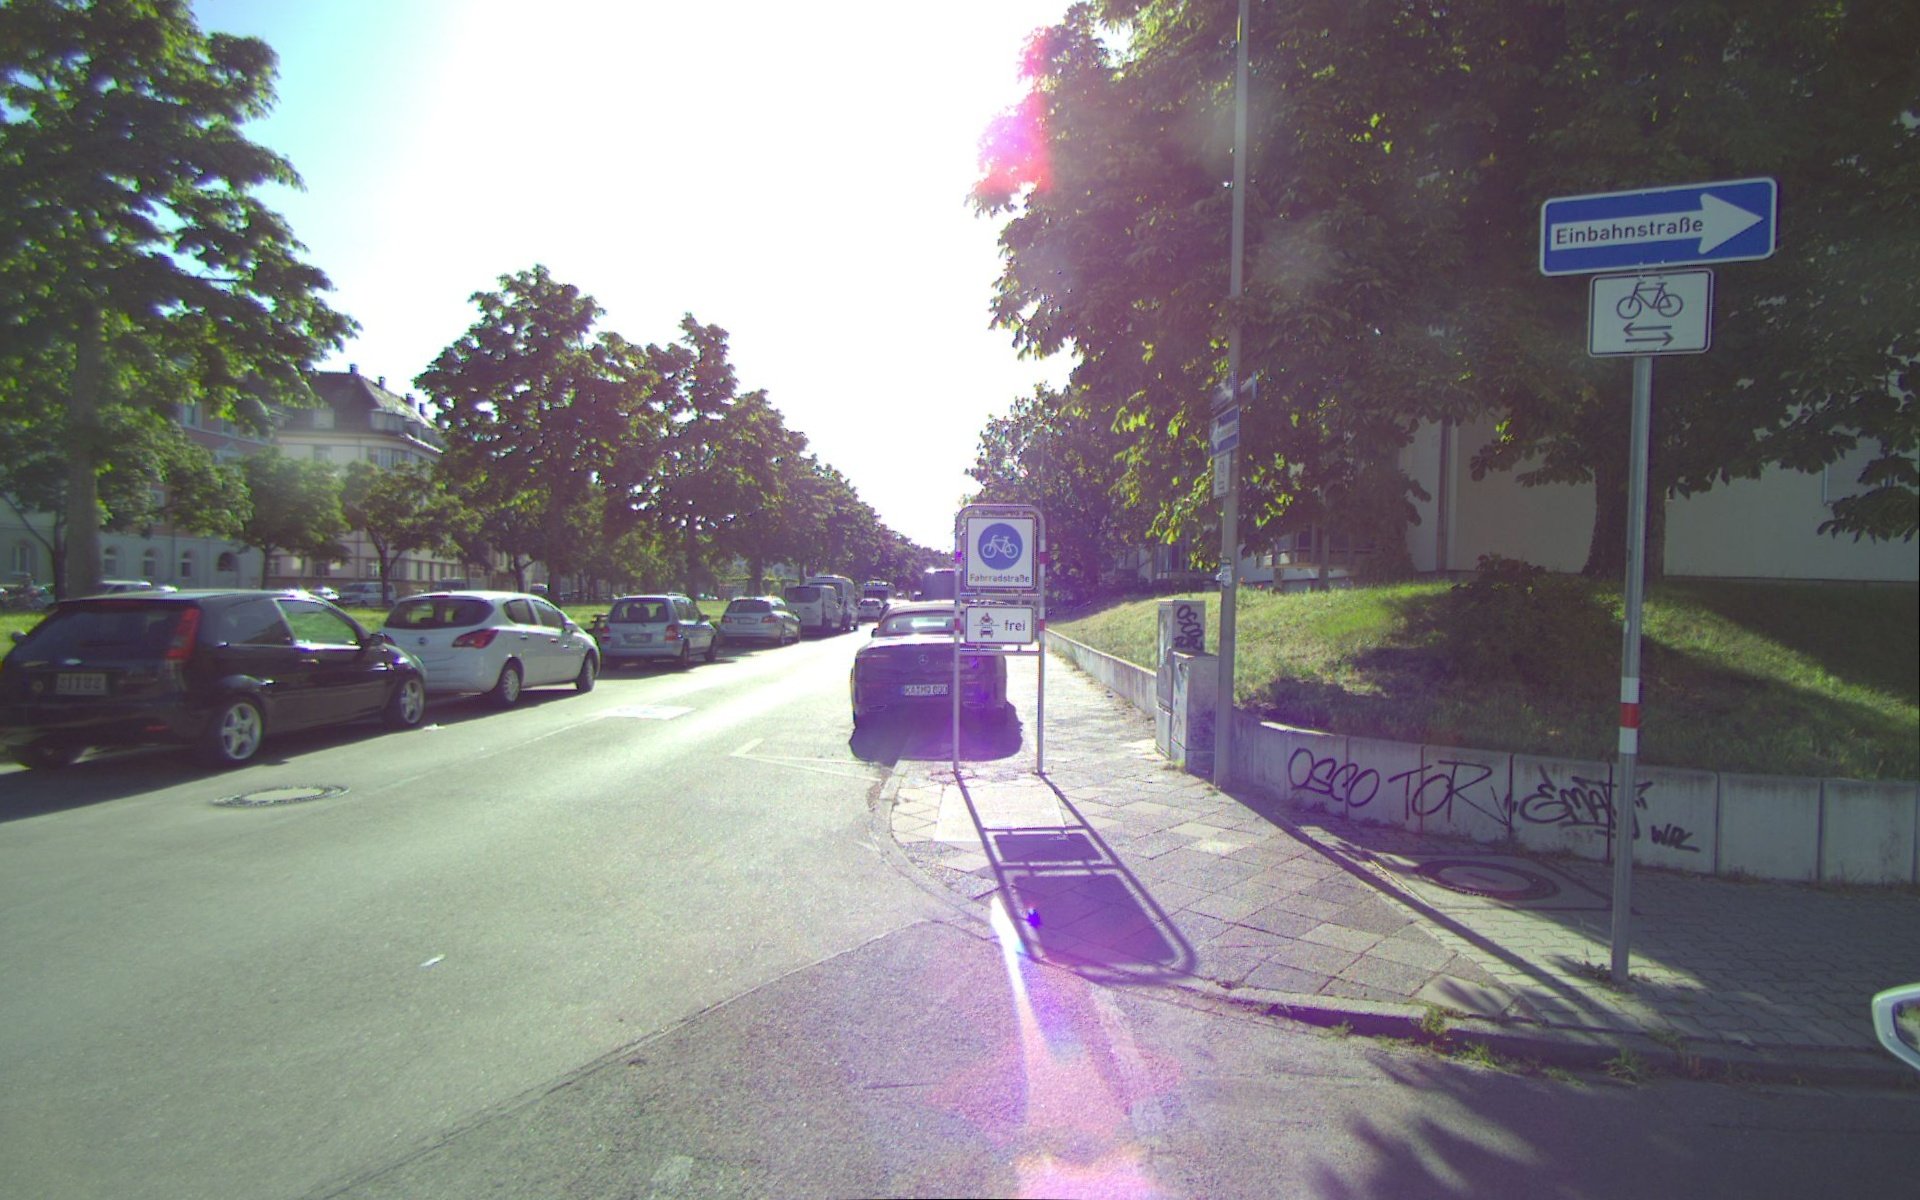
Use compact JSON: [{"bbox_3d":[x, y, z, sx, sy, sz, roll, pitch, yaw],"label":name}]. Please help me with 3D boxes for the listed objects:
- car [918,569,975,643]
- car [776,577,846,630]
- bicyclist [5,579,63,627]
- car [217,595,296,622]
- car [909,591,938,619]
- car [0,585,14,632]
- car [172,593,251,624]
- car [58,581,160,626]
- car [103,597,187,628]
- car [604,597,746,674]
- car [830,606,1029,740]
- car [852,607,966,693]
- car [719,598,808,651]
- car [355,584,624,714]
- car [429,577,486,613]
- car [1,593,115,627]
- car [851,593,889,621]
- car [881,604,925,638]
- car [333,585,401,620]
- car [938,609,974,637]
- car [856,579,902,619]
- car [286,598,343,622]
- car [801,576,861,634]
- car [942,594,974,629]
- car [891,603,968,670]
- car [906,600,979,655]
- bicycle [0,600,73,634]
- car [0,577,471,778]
[{"bbox_3d":[-0.595,0.220,40.421,2.128,2.725,5.415,1,0,-2],"label":"car"},{"bbox_3d":[-5.857,0.129,40.014,2.063,1.968,4.127,1,0,1],"label":"car"},{"bbox_3d":[-36.602,0.141,39.740,0.926,1.862,1.449,0,-1,0],"label":"bicyclist"},{"bbox_3d":[-40.679,0.499,58.195,1.815,1.459,3.775,1,0,1],"label":"car"},{"bbox_3d":[-2.723,0.375,76.269,1.863,2.018,4.011,0,0,2],"label":"car"},{"bbox_3d":[-40.767,0.344,40.163,1.708,1.933,4.460,1,0,-1],"label":"car"},{"bbox_3d":[-46.043,0.502,61.893,1.829,1.772,4.000,1,0,0],"label":"car"},{"bbox_3d":[-46.127,0.198,54.571,1.747,2.289,4.463,1,0,-1],"label":"car"},{"bbox_3d":[-40.631,0.590,50.138,1.357,1.459,3.342,1,0,2],"label":"car"},{"bbox_3d":[-6.026,0.697,21.748,1.749,1.481,4.127,1,0,2],"label":"car"},{"bbox_3d":[-0.240,0.788,12.907,2.089,1.355,4.507,-1,0,2],"label":"car"},{"bbox_3d":[-0.851,0.844,18.878,1.749,1.389,4.127,1,0,2],"label":"car"},{"bbox_3d":[-6.083,0.712,31.551,1.802,1.520,4.127,1,0,2],"label":"car"},{"bbox_3d":[-6.216,0.610,13.820,1.747,1.515,3.876,-1,-1,2],"label":"car"},{"bbox_3d":[-40.402,-0.361,80.927,1.884,2.780,5.624,1,0,-1],"label":"car"},{"bbox_3d":[-40.691,0.438,45.450,1.665,1.448,3.775,1,0,2],"label":"car"},{"bbox_3d":[-5.902,0.449,66.231,1.976,1.809,4.127,1,0,2],"label":"car"},{"bbox_3d":[-2.805,0.994,50.014,1.750,1.551,4.001,2,0,2],"label":"car"},{"bbox_3d":[-40.344,0.180,68.471,1.666,2.243,5.007,1,0,-1],"label":"car"},{"bbox_3d":[-0.200,1.310,59.071,1.955,1.507,4.127,1,0,2],"label":"car"},{"bbox_3d":[-5.722,-0.057,71.888,2.573,2.680,6.115,1,0,2],"label":"car"},{"bbox_3d":[-40.269,0.612,62.705,1.492,1.459,3.231,1,0,-1],"label":"car"},{"bbox_3d":[-5.895,0.240,46.428,2.063,2.529,4.127,1,0,2],"label":"car"},{"bbox_3d":[-0.126,0.764,69.966,2.127,2.323,5.266,1,0,1],"label":"car"},{"bbox_3d":[-0.715,0.858,25.251,1.750,1.507,4.031,1,0,0],"label":"car"},{"bbox_3d":[-0.451,0.772,30.306,1.955,1.507,4.127,1,0,2],"label":"car"},{"bbox_3d":[-36.597,0.643,39.677,0.797,1.269,2.634,1,0,-1],"label":"bicycle"},{"bbox_3d":[-6.416,0.600,9.302,1.719,1.443,3.917,-1,-1,2],"label":"car"}]
